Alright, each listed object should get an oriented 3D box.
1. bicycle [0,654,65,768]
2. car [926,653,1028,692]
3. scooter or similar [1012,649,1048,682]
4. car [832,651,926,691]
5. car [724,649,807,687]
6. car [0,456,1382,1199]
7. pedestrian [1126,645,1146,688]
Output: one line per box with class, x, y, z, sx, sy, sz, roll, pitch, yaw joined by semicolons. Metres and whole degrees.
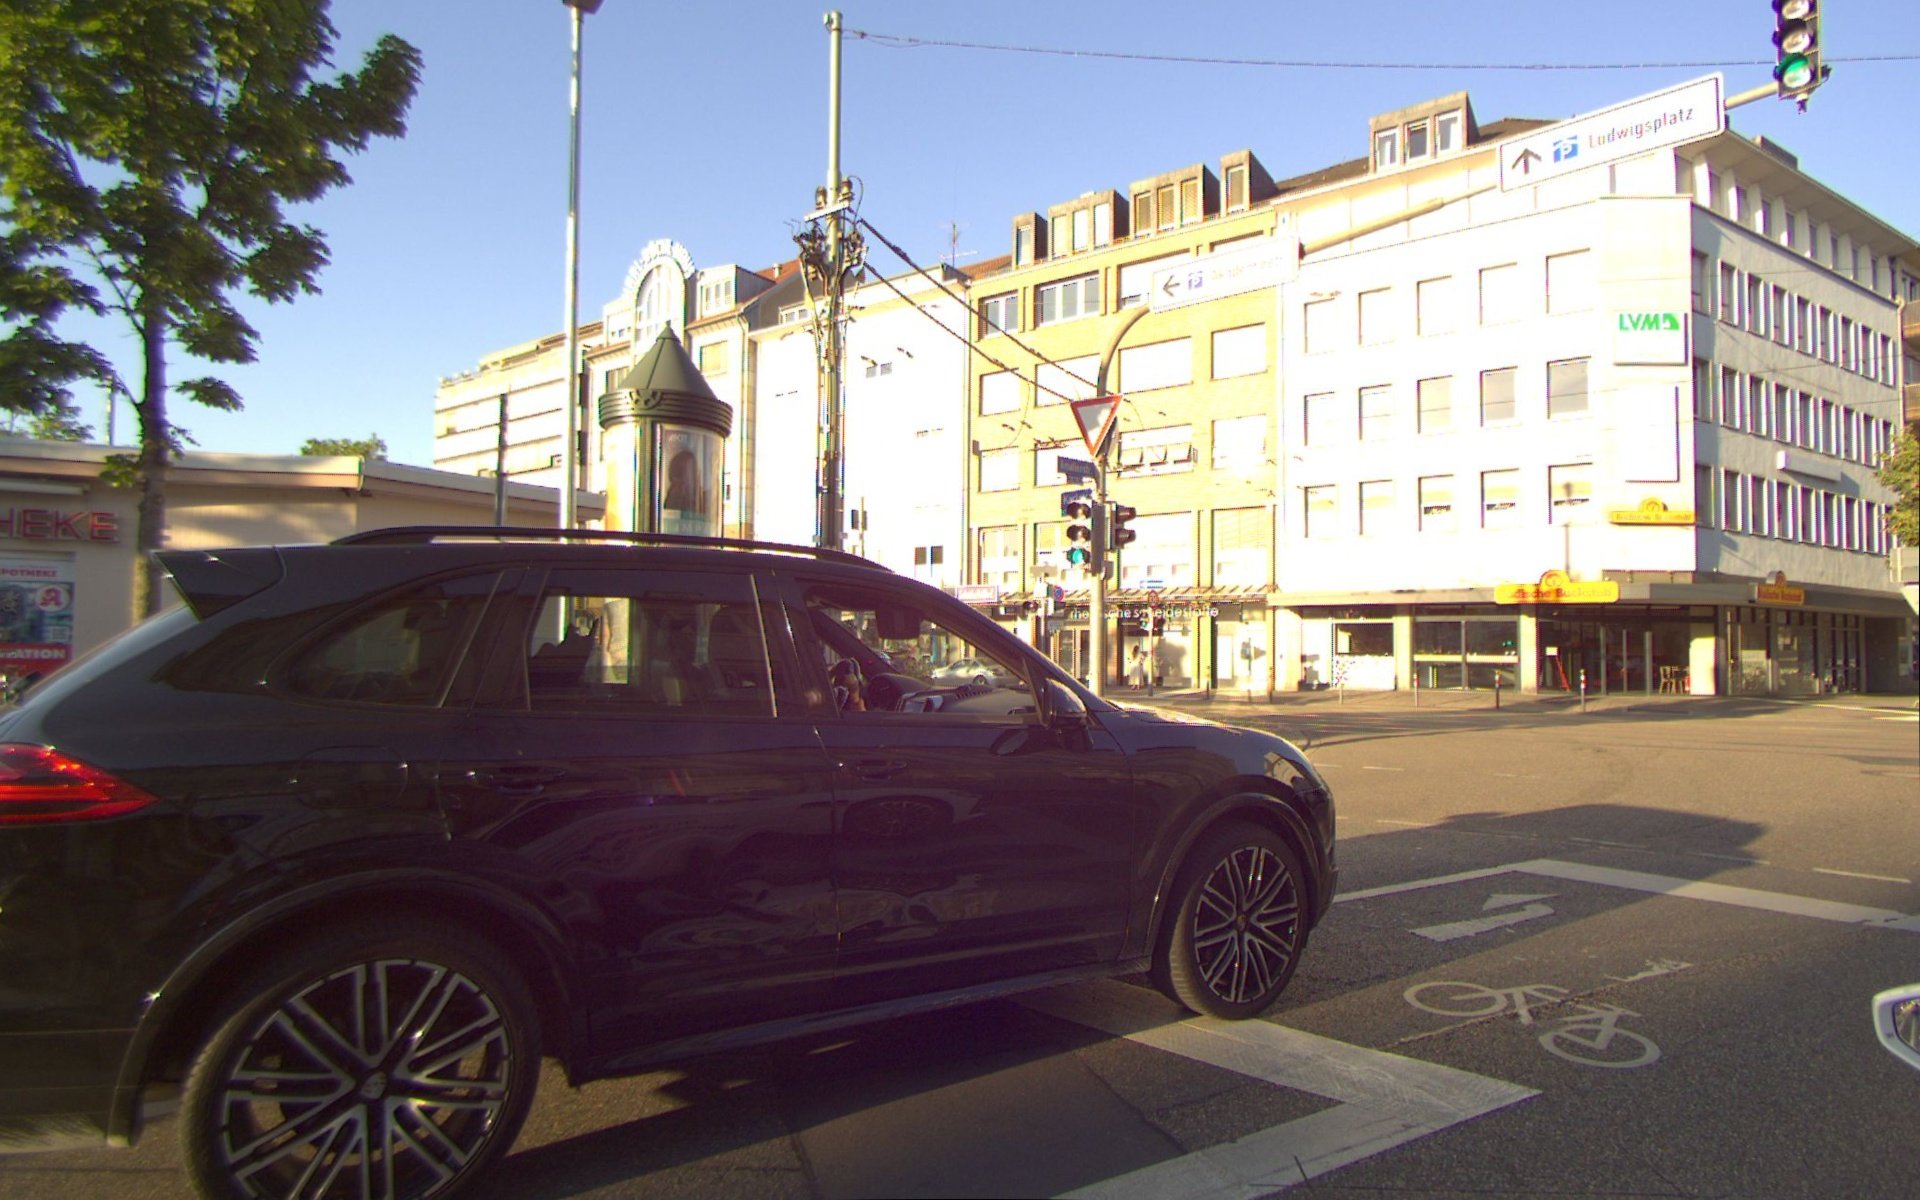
bicycle;-10.221;1.154;10.805;0.443;1.128;1.858;3;-4;-29
car;0.609;2.594;36.268;3.334;1.270;1.631;-2;-1;36
scooter or similar;2.745;2.559;39.547;1.443;1.275;0.394;-2;-2;38
car;-3.146;2.710;38.713;3.334;1.371;1.631;-2;-1;36
car;-8.284;2.879;42.792;3.334;1.483;1.631;-2;-1;36
car;-0.649;0.670;3.702;4.518;1.720;1.791;2;-2;-31
pedestrian;6.304;2.388;35.979;0.613;1.491;0.544;-2;0;20
